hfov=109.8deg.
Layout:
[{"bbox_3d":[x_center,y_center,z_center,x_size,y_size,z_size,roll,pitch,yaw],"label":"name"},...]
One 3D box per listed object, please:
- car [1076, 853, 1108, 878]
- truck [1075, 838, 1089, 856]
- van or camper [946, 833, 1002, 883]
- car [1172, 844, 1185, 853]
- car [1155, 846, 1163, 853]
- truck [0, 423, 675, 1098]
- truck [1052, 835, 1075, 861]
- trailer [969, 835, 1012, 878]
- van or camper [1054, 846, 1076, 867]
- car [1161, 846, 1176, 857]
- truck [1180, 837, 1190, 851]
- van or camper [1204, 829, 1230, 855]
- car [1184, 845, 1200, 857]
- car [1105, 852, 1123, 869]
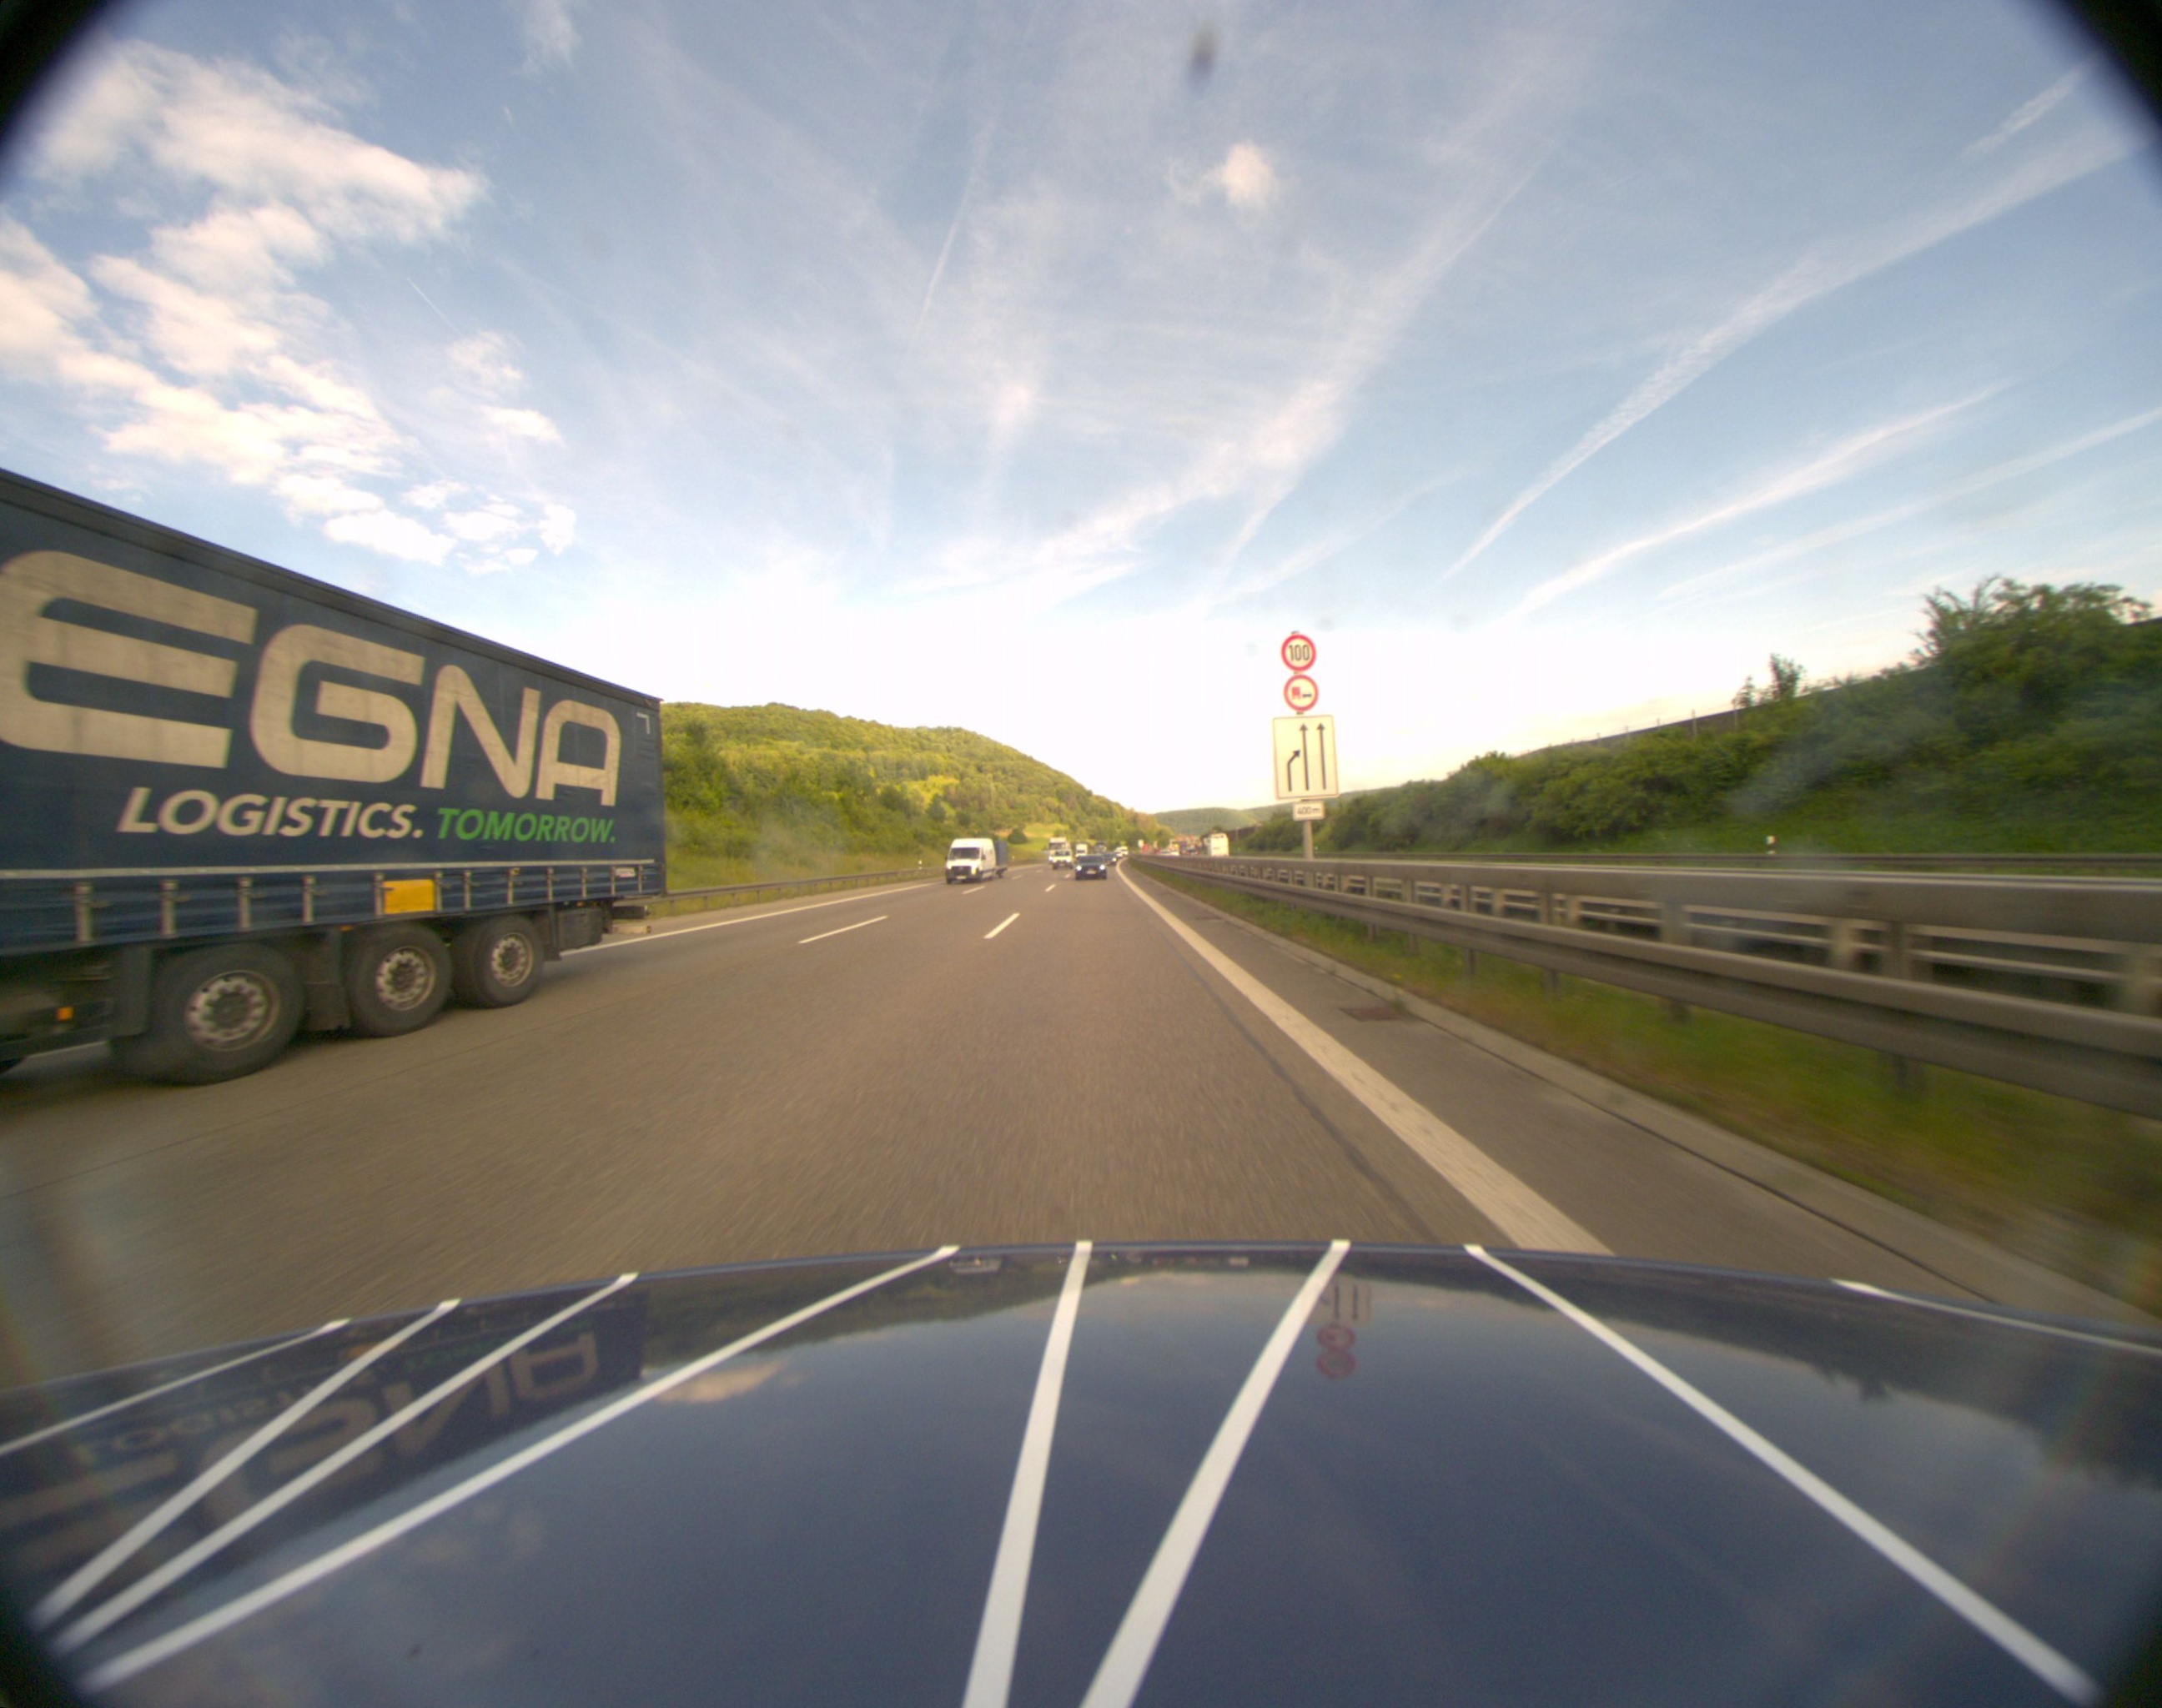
[{"bbox_3d":[0.699,0.644,44.421,1.580,1.310,4.001,-2,0,4],"label":"car"},{"bbox_3d":[0.174,-1.533,160.715,2.709,3.627,9.032,-2,0,-1],"label":"truck"},{"bbox_3d":[-6.305,0.216,45.766,1.998,2.701,7.523,-2,0,2],"label":"van or camper"},{"bbox_3d":[18.156,-1.058,141.936,1.998,1.617,3.738,-2,0,1],"label":"car"},{"bbox_3d":[21.717,-1.147,210.777,1.934,1.881,4.345,-2,0,4],"label":"car"},{"bbox_3d":[-7.844,-0.508,2.643,2.972,3.969,17.731,-2,0,1],"label":"truck"},{"bbox_3d":[-2.673,-0.981,121.476,2.925,3.876,13.010,-2,0,2],"label":"truck"},{"bbox_3d":[-6.083,0.166,51.844,1.998,2.710,5.249,-2,1,2],"label":"trailer"},{"bbox_3d":[-1.520,0.235,74.827,1.998,1.881,4.487,-2,0,0],"label":"van or camper"},{"bbox_3d":[11.925,-0.302,103.651,1.784,1.401,3.763,-2,1,3],"label":"car"},{"bbox_3d":[34.172,-3.325,249.008,2.655,4.253,14.687,-2,0,9],"label":"truck"},{"bbox_3d":[19.441,-1.738,109.021,2.488,3.531,7.977,-2,1,2],"label":"van or camper"},{"bbox_3d":[15.738,-0.409,107.608,1.647,1.646,4.345,-2,1,2],"label":"car"},{"bbox_3d":[3.686,0.707,84.649,1.998,1.870,4.001,-1,0,3],"label":"car"}]
